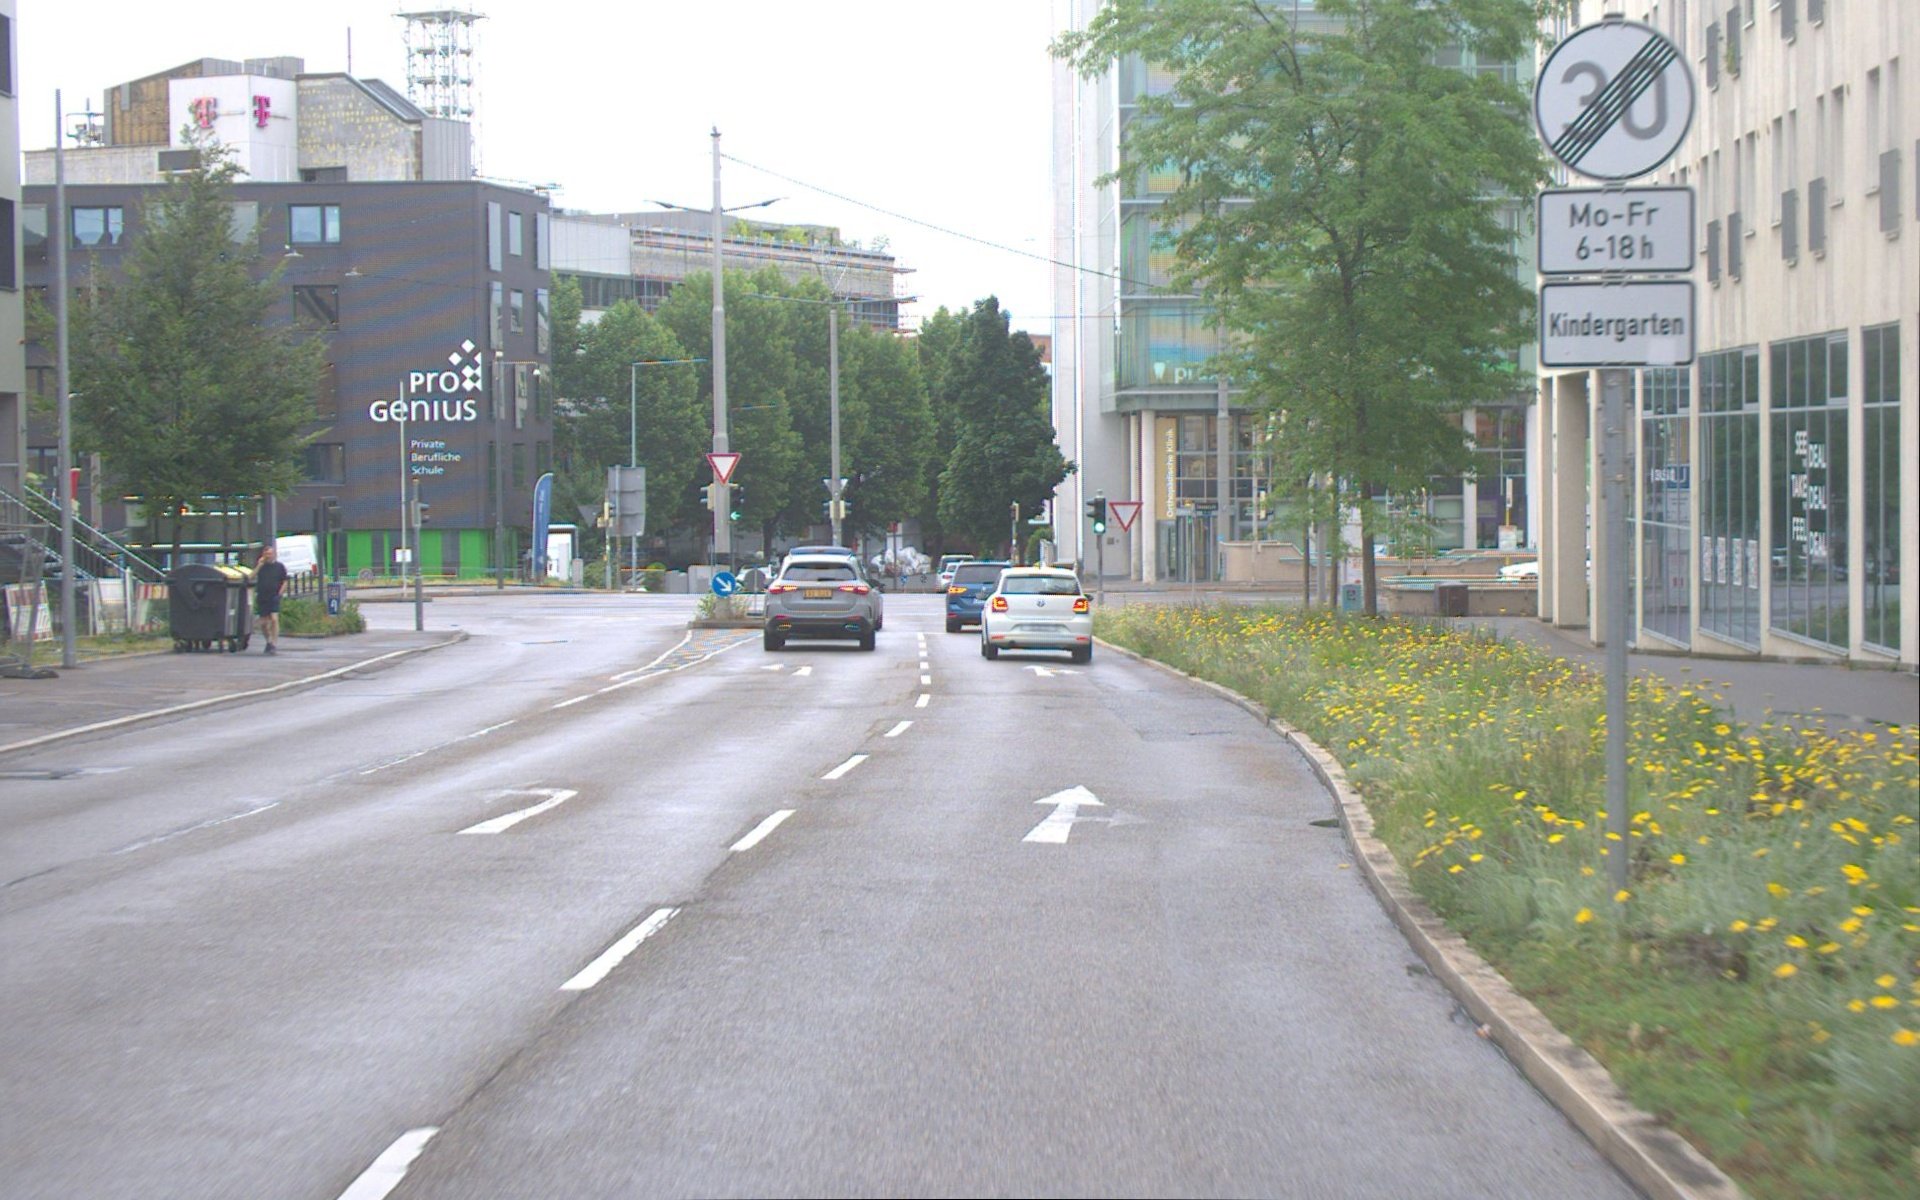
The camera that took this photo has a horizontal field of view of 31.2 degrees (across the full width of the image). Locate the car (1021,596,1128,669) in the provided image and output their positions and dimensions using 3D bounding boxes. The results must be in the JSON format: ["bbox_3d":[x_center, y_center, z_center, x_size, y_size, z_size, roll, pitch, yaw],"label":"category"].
[{"bbox_3d":[2.405,0.671,73.061,1.993,1.503,4.000,0,0,-2],"label":"car"}]

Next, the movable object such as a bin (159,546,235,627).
[{"bbox_3d":[-12.496,-0.225,56.319,1.205,1.316,0.874,0,1,-13],"label":"movable object such as a bin"}]

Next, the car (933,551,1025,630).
[{"bbox_3d":[0.411,-0.233,78.525,1.993,1.744,3.673,0,1,-1],"label":"car"}]

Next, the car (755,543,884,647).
[{"bbox_3d":[-2.385,-0.081,59.270,2.141,1.722,4.000,0,0,-1],"label":"car"}]

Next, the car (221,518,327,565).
[{"bbox_3d":[-29.592,-2.517,148.365,3.989,2.007,1.999,0,0,12],"label":"car"}]

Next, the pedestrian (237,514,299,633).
[{"bbox_3d":[-11.382,-0.432,56.549,0.959,1.948,0.779,0,0,-13],"label":"pedestrian"}]

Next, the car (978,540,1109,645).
[{"bbox_3d":[1.342,-0.150,54.267,1.993,1.571,3.996,0,1,2],"label":"car"}]
